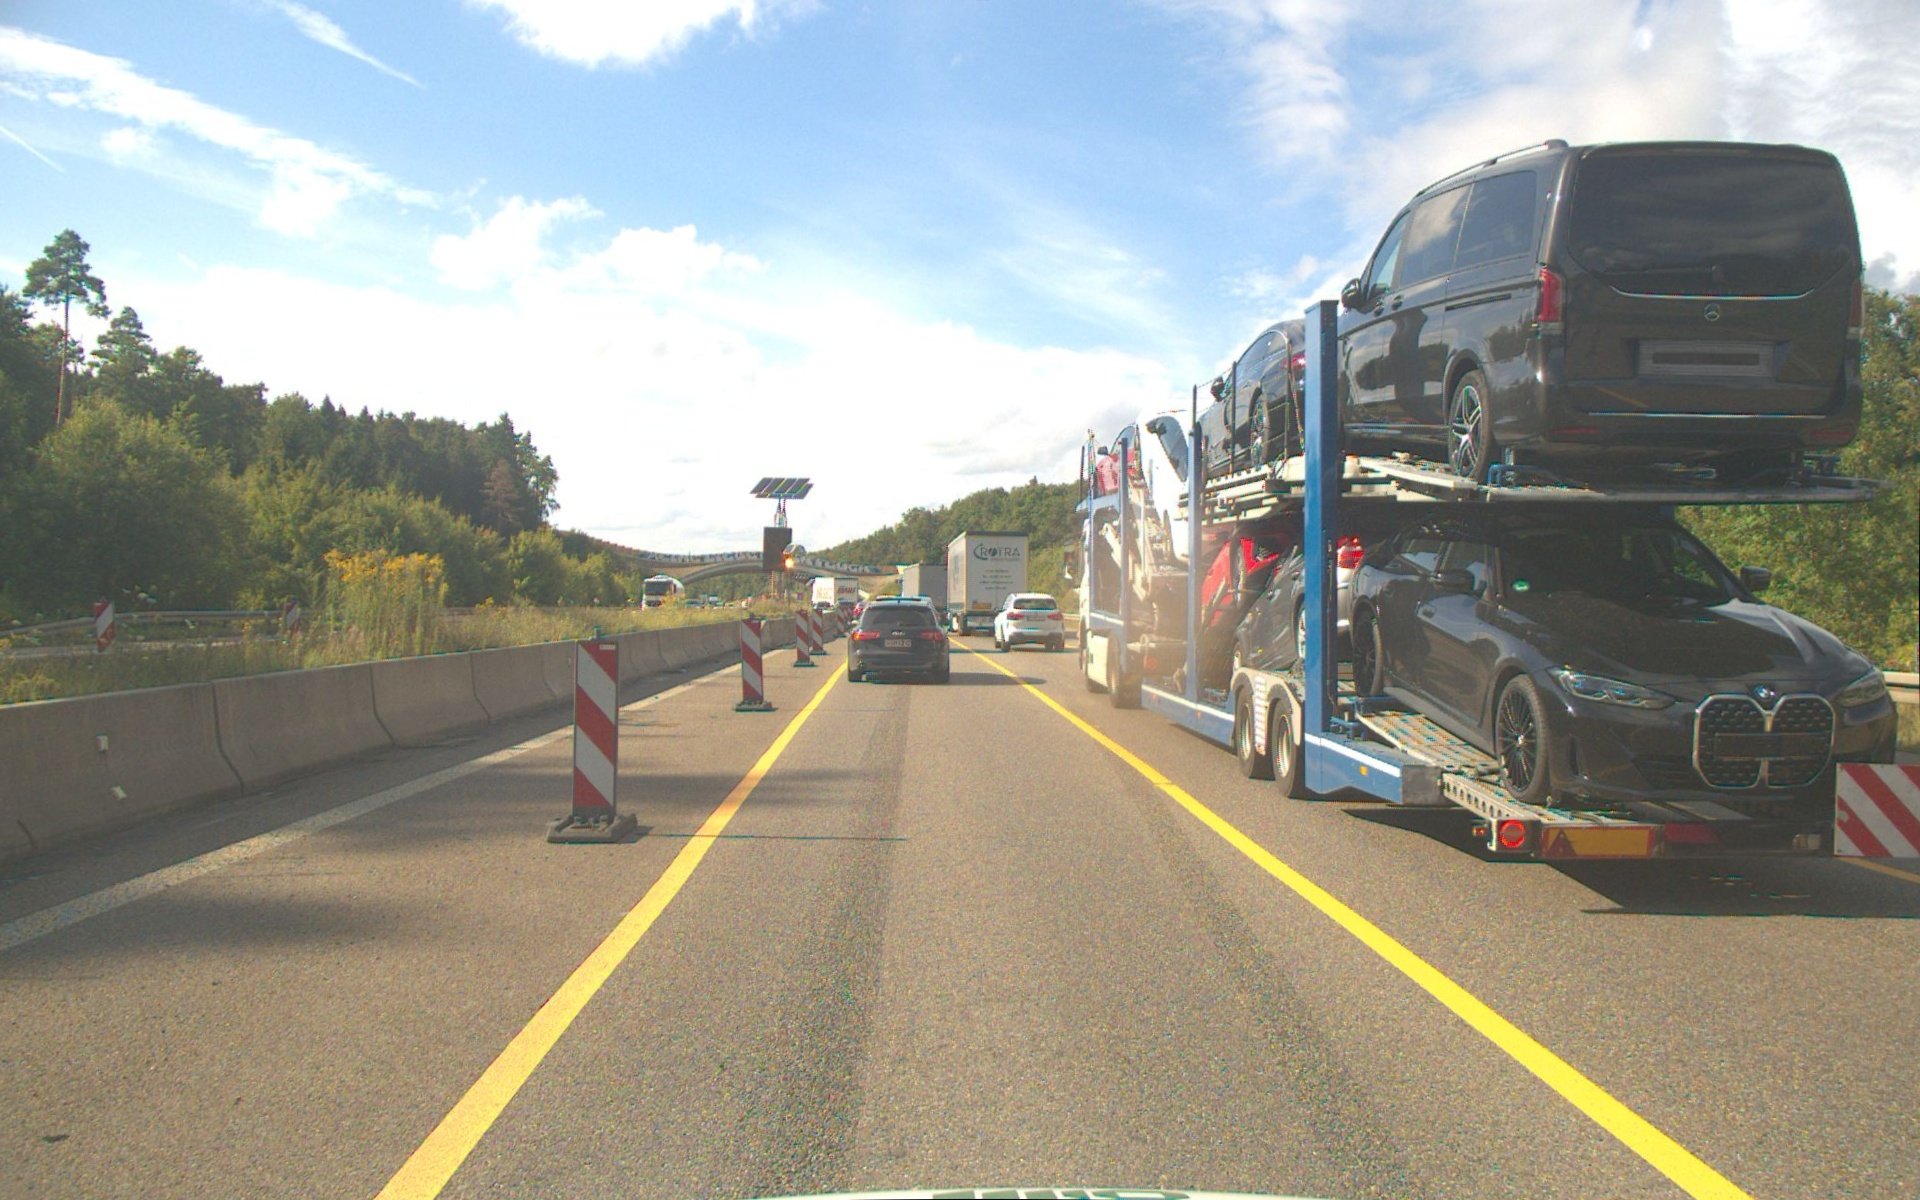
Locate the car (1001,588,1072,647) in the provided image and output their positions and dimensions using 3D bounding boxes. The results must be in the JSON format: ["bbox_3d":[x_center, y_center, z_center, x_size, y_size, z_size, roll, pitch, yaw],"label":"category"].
[{"bbox_3d":[2.255,0.518,49.495,1.852,1.672,4.016,1,0,-1],"label":"car"}]

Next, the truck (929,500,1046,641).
[{"bbox_3d":[0.945,-1.110,72.666,3.605,5.447,16.185,1,0,-4],"label":"truck"}]

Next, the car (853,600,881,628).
[{"bbox_3d":[-7.057,1.071,125.110,1.955,2.049,3.995,1,0,-5],"label":"car"}]

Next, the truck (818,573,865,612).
[{"bbox_3d":[-12.538,-0.756,173.640,3.589,3.997,11.036,1,0,-11],"label":"truck"}]

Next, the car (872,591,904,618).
[{"bbox_3d":[-4.720,0.305,107.681,1.854,1.672,4.012,1,0,-6],"label":"car"}]

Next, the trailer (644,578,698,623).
[{"bbox_3d":[-23.810,0.047,136.671,2.745,3.551,11.109,1,0,-1],"label":"trailer"}]

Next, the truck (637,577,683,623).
[{"bbox_3d":[-23.660,0.035,130.549,2.728,3.551,4.938,1,0,-1],"label":"truck"}]

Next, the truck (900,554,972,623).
[{"bbox_3d":[-1.811,-0.749,117.520,4.235,4.681,11.112,1,0,-5],"label":"truck"}]

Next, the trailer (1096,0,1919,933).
[{"bbox_3d":[4.158,-0.667,15.249,3.652,4.270,16.217,1,0,-3],"label":"trailer"}]

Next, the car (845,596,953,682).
[{"bbox_3d":[-1.083,0.683,30.544,1.852,1.472,3.999,1,0,-1],"label":"car"}]

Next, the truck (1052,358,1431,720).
[{"bbox_3d":[3.593,-0.699,23.678,3.686,4.270,7.946,1,0,-3],"label":"truck"}]
